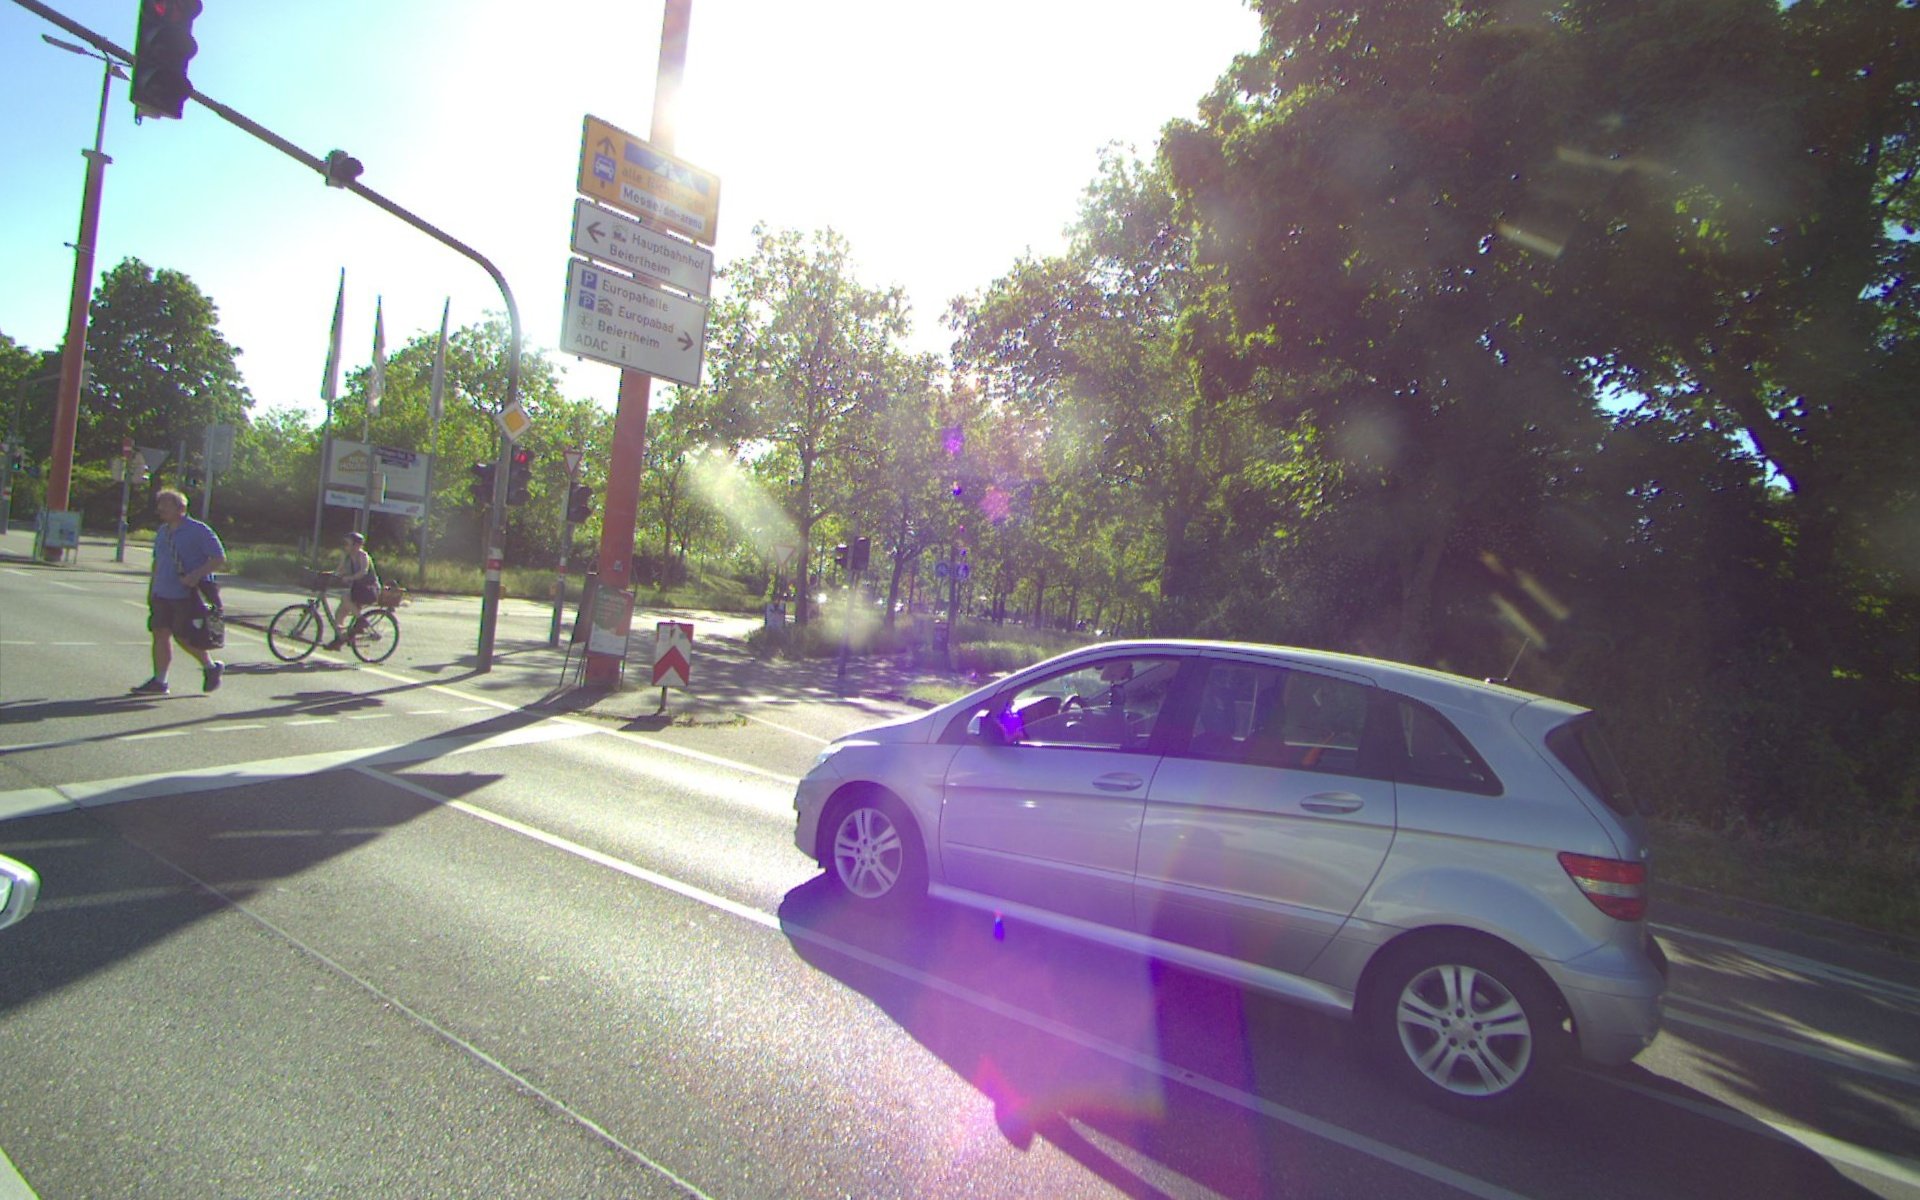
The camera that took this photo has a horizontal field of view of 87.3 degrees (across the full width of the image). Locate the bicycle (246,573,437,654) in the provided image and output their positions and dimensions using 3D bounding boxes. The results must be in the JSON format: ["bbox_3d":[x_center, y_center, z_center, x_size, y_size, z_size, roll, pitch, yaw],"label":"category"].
[{"bbox_3d":[-7.838,0.213,12.898,0.549,0.889,2.169,7,-1,19],"label":"bicycle"}]

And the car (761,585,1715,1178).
[{"bbox_3d":[1.112,0.949,5.017,3.995,1.559,1.670,7,0,34],"label":"car"}]

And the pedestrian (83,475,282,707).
[{"bbox_3d":[-6.696,-0.069,8.728,0.885,1.810,0.892,7,0,-9],"label":"pedestrian"}]

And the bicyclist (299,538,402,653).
[{"bbox_3d":[-7.781,-0.040,12.861,0.695,1.358,0.742,7,0,21],"label":"bicyclist"}]
